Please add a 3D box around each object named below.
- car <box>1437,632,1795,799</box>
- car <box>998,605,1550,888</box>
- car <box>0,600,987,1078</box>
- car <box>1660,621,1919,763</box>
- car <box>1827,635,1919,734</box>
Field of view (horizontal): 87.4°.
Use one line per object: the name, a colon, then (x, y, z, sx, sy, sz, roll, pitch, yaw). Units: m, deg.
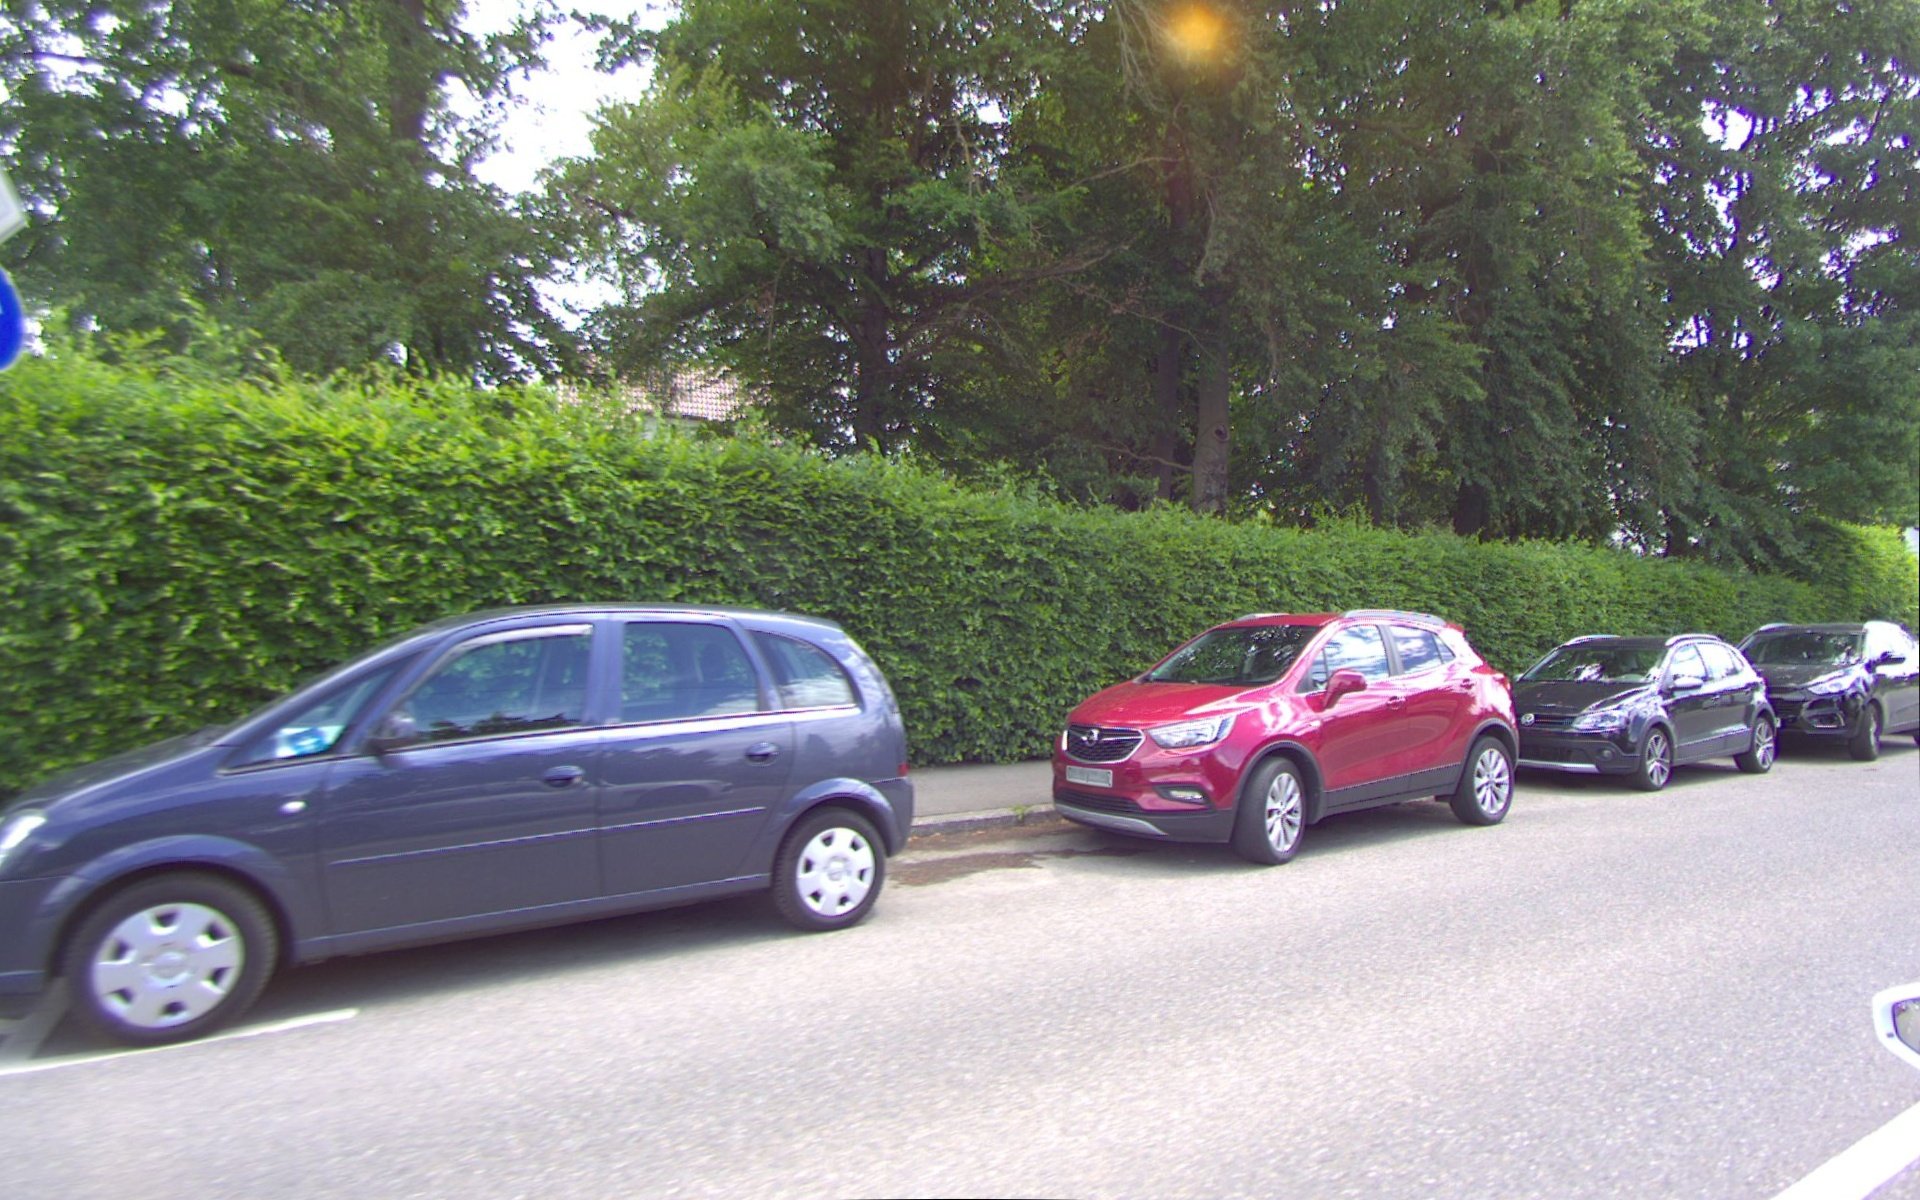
car: (7.178, 1.097, 10.883, 4.191, 1.478, 1.723, 1, -1, -33)
car: (2.574, 0.898, 7.790, 4.371, 1.632, 1.779, 1, -1, -34)
car: (-2.122, 0.833, 4.921, 4.278, 1.554, 1.749, 1, -2, -31)
car: (11.473, 1.100, 13.475, 4.594, 1.615, 1.885, 1, -1, -34)
car: (16.190, 1.321, 16.358, 4.303, 1.472, 1.698, 1, -4, -29)
